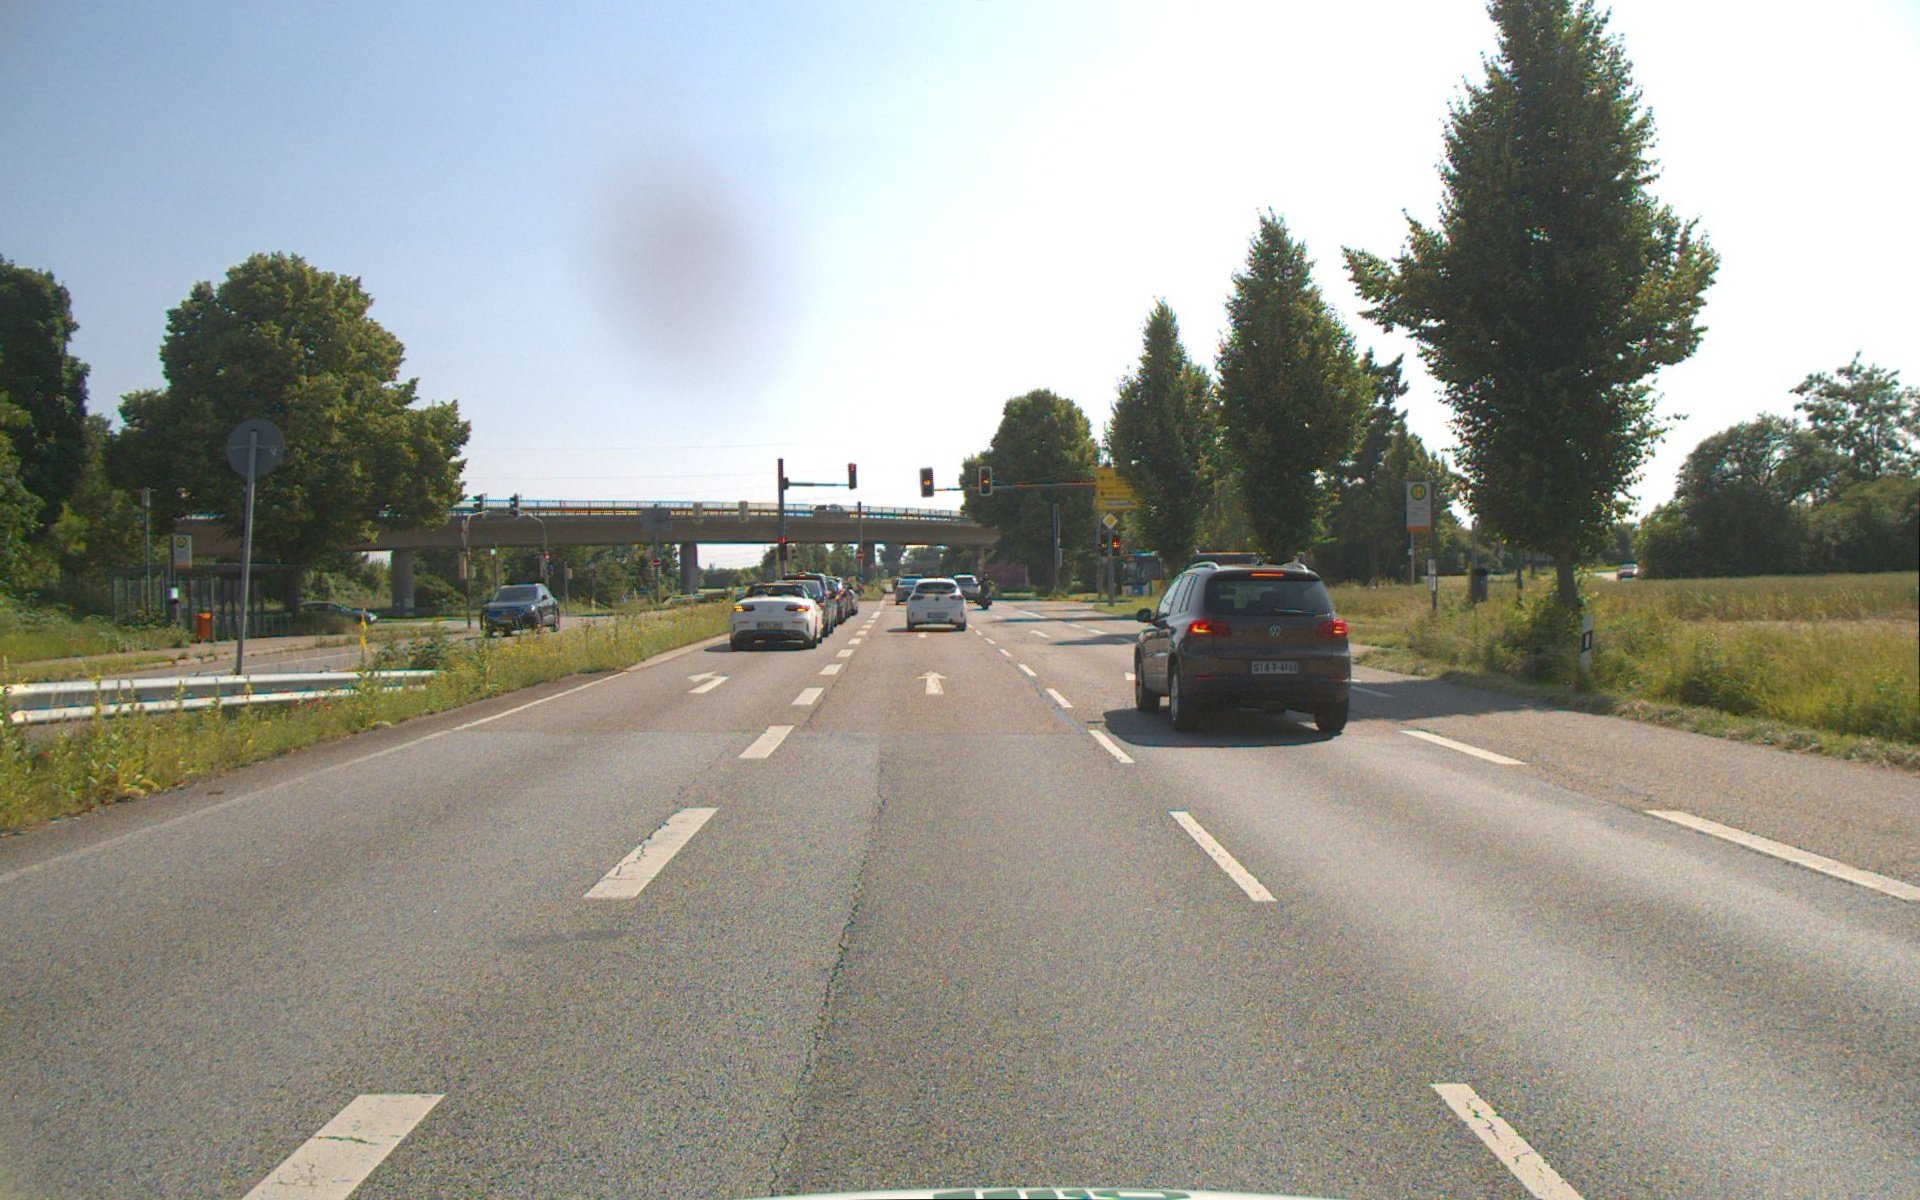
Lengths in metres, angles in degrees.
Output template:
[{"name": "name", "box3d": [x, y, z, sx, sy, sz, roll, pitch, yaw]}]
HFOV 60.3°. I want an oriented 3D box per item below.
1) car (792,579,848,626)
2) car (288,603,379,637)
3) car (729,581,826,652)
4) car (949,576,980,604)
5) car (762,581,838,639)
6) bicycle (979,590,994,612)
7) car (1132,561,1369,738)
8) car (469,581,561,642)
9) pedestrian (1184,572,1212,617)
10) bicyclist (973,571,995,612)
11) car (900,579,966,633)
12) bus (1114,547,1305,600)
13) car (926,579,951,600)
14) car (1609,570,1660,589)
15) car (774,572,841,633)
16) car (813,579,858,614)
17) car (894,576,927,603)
[{"name": "car", "box3d": [-4.655, 0.057, 55.294, 1.632, 1.500, 4.097, -1, 1, -2]}, {"name": "car", "box3d": [-30.451, 0.946, 80.423, 4.057, 1.449, 1.858, -2, 1, -22]}, {"name": "car", "box3d": [-3.949, 0.311, 36.425, 1.767, 1.450, 4.640, 0, 1, -2]}, {"name": "car", "box3d": [0.260, -0.615, 100.070, 1.835, 1.668, 3.999, 1, 1, -1]}, {"name": "car", "box3d": [-4.145, 0.230, 43.409, 1.680, 1.434, 4.354, 0, 1, -2]}, {"name": "bicycle", "box3d": [1.246, 0.053, 78.515, 0.588, 1.000, 2.360, -1, 1, -2]}, {"name": "car", "box3d": [3.005, 0.458, 17.935, 1.720, 1.684, 4.145, 0, 0, -2]}, {"name": "car", "box3d": [-15.282, 0.354, 57.044, 1.954, 1.872, 4.951, -3, 1, -3]}, {"name": "pedestrian", "box3d": [10.187, -0.240, 70.856, 0.884, 1.871, 1.194, -1, 1, -4]}, {"name": "bicyclist", "box3d": [1.129, -0.414, 78.816, 0.986, 1.919, 1.326, 0, 0, -1]}, {"name": "car", "box3d": [-0.764, 0.141, 47.643, 1.813, 1.486, 3.999, 0, 1, -1]}, {"name": "bus", "box3d": [15.744, -1.691, 104.106, 11.751, 2.927, 2.928, -2, 0, -17]}, {"name": "car", "box3d": [-1.774, -0.858, 138.308, 1.953, 1.660, 3.998, 1, 0, -2]}, {"name": "car", "box3d": [55.539, -1.698, 136.163, 3.934, 1.422, 1.669, -1, 1, -24]}, {"name": "car", "box3d": [-4.521, 0.046, 49.572, 1.706, 1.701, 4.355, -1, 1, -2]}, {"name": "car", "box3d": [-5.112, -0.171, 68.458, 1.640, 1.358, 4.097, -1, 1, -2]}, {"name": "car", "box3d": [-2.855, -0.638, 96.484, 1.835, 1.518, 3.999, -1, 1, -1]}]
